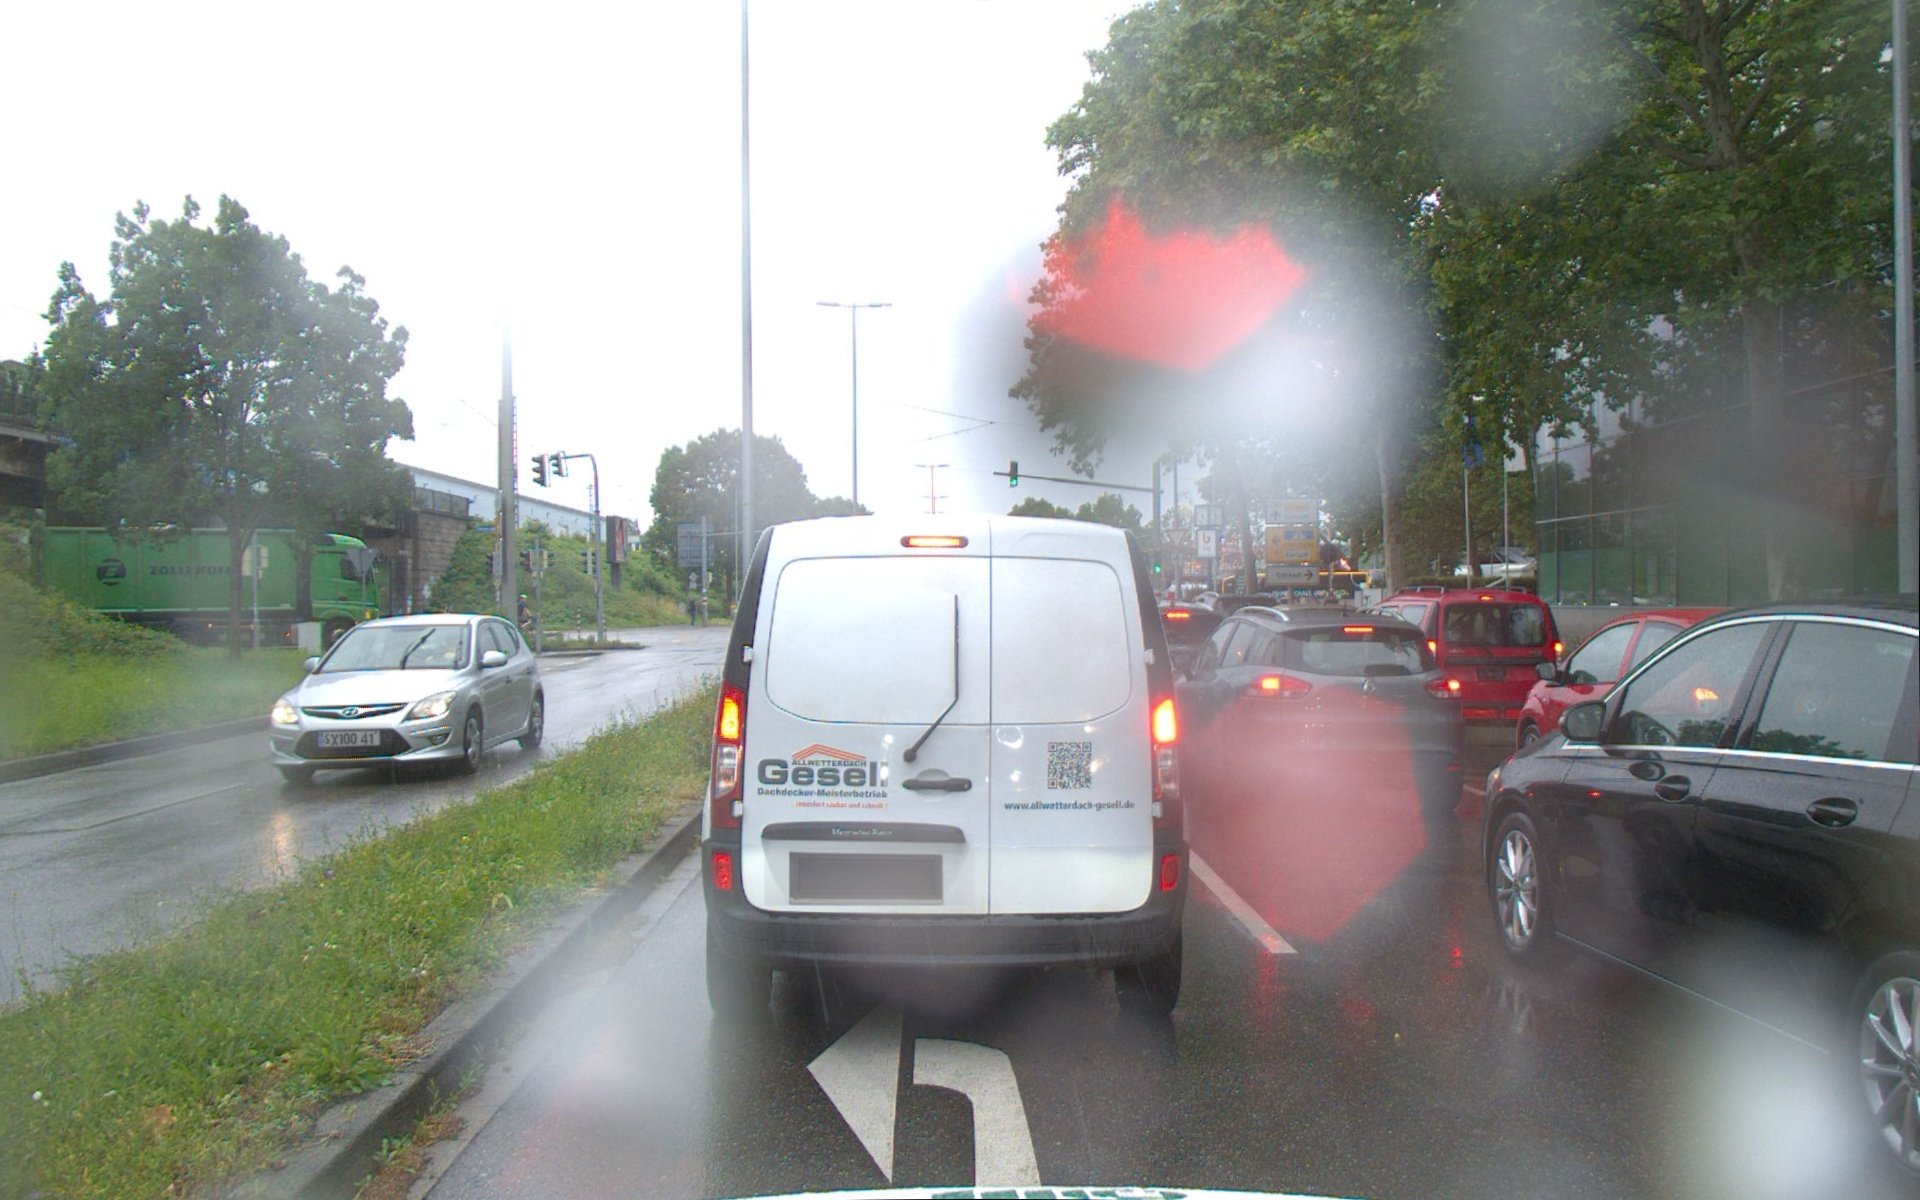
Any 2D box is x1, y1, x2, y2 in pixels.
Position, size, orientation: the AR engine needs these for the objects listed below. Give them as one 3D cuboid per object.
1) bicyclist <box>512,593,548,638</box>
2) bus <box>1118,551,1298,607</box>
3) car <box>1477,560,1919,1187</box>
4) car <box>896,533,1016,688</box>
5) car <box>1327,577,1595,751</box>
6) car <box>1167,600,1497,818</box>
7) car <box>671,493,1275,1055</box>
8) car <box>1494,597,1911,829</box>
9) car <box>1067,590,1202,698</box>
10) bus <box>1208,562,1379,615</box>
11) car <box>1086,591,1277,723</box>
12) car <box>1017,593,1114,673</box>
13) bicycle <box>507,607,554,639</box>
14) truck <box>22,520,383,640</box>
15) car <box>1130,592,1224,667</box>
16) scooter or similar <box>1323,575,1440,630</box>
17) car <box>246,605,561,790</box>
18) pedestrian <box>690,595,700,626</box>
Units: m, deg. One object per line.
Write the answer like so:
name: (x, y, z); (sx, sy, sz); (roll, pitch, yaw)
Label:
bicyclist: (-14.354, 0.507, 55.254); (1.028, 1.475, 0.723); (-1, 1, -26)
bus: (16.592, -1.410, 111.148); (11.727, 3.483, 2.315); (-1, 1, -1)
car: (3.245, 0.690, 5.443); (1.712, 1.582, 4.089); (0, 0, -2)
car: (-0.085, 0.141, 26.928); (1.816, 2.336, 3.842); (0, 0, -1)
car: (5.512, 0.665, 18.767); (1.676, 1.724, 4.271); (1, -1, -1)
car: (2.767, 0.741, 13.148); (1.649, 1.433, 3.842); (1, 0, -2)
car: (0.012, 0.541, 7.638); (1.953, 1.807, 4.584); (0, 0, -1)
car: (5.393, 0.738, 12.481); (1.537, 1.488, 3.388); (0, 0, -2)
car: (2.872, 0.678, 27.889); (1.816, 1.678, 3.842); (0, 0, -1)
bus: (23.454, -0.821, 116.271); (11.764, 3.483, 2.475); (-1, 1, -13)
car: (2.660, 0.633, 20.659); (1.816, 1.486, 3.842); (0, 0, -1)
car: (2.265, 0.692, 36.389); (1.816, 1.678, 3.842); (0, 0, -1)
bicycle: (-14.381, 0.757, 55.325); (1.027, 0.968, 2.866); (-1, 1, -25)
truck: (-23.239, -0.596, 51.235); (9.957, 3.430, 2.316); (0, 0, -37)
car: (5.154, 0.681, 39.715); (1.674, 1.678, 3.842); (1, 0, -1)
scooter or similar: (19.667, 0.090, 77.357); (1.878, 2.489, 5.239); (0, 0, -41)
car: (-5.278, 0.844, 16.273); (1.779, 1.488, 3.999); (-3, 0, -2)
pedestrian: (-15.360, 0.613, 95.855); (0.532, 1.746, 0.563); (1, -1, -5)
